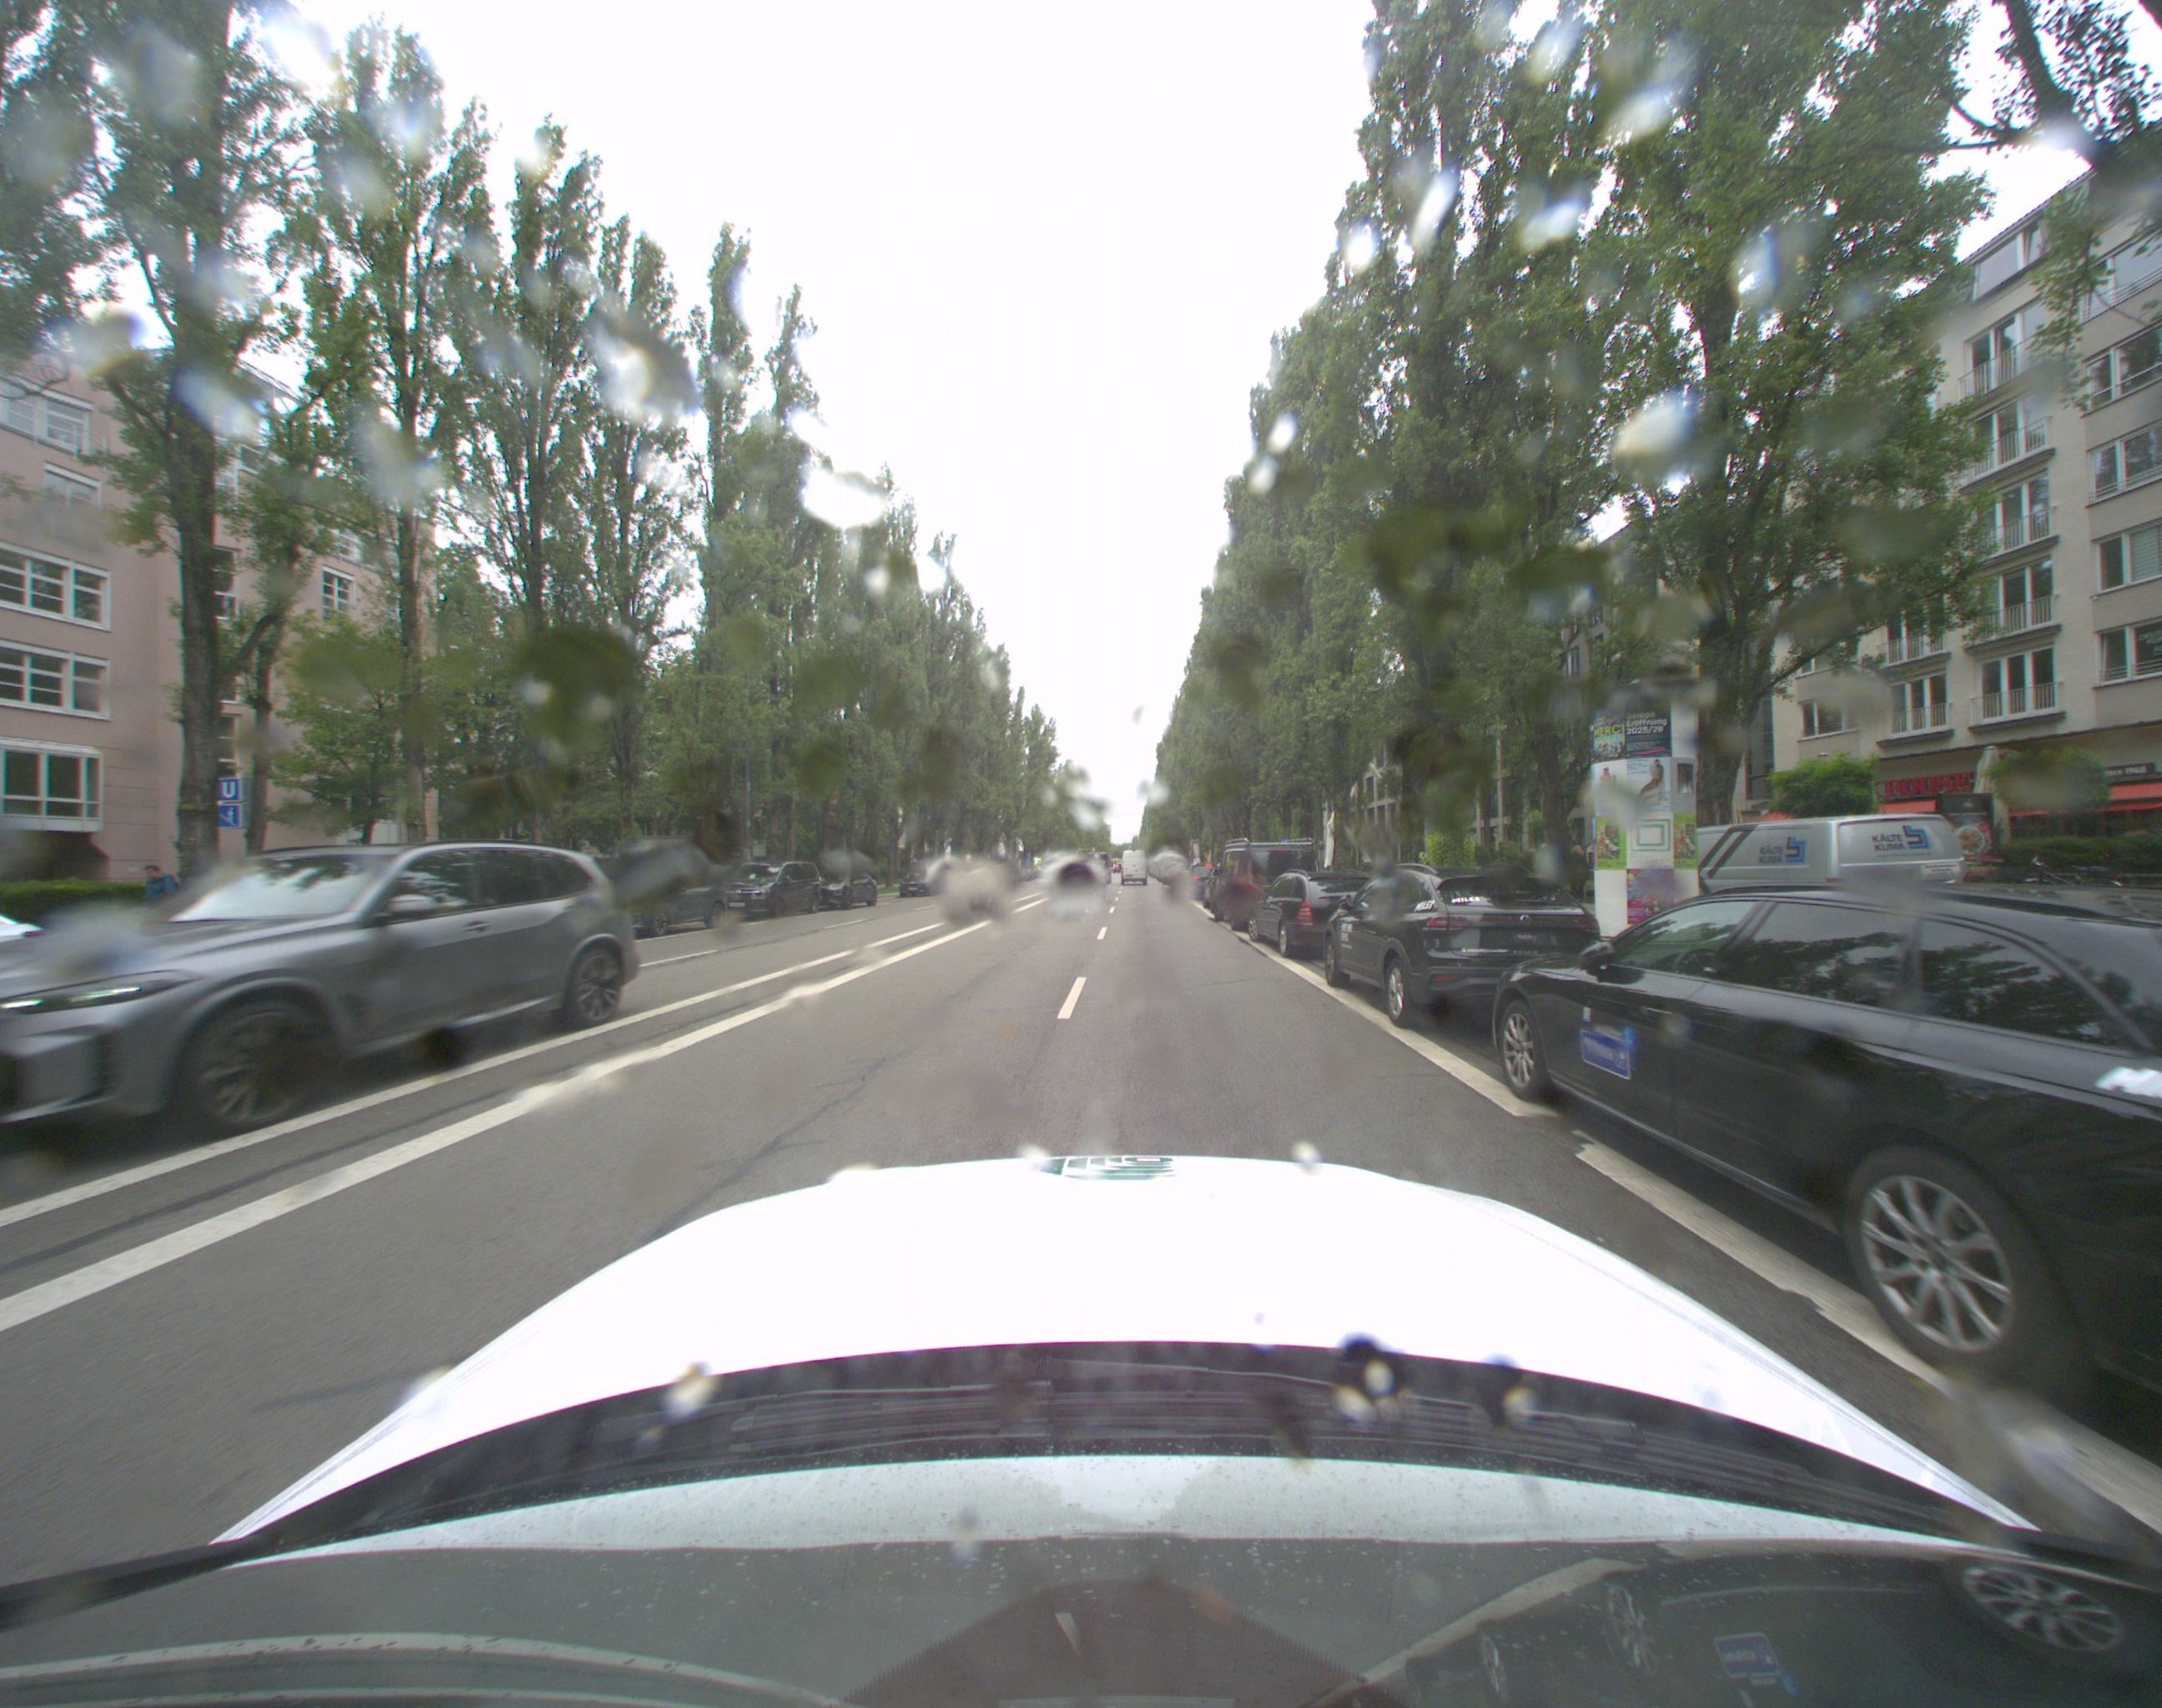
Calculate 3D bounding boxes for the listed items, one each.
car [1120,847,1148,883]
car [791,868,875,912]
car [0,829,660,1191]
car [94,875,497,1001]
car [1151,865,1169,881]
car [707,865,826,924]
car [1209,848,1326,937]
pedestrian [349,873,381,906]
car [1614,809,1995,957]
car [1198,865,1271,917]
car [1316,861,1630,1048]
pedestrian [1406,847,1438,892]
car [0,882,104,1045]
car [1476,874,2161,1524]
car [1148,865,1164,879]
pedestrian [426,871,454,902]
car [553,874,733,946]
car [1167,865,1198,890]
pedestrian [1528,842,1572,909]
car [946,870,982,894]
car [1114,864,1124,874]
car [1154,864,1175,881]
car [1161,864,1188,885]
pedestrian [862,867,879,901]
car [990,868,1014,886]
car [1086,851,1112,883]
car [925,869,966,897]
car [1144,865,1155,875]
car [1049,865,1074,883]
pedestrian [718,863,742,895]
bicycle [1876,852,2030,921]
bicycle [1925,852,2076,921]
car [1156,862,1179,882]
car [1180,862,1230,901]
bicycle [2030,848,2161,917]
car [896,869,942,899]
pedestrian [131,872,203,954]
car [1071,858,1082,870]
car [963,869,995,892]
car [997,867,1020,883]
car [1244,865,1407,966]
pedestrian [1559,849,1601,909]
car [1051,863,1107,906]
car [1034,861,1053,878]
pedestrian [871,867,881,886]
[{"bbox_3d":[4.119,0.854,63.278,2.031,2.652,6.046,1,0,3],"label":"car"},{"bbox_3d":[-9.915,1.402,32.963,1.987,1.606,4.353,-1,-1,1],"label":"car"},{"bbox_3d":[-5.622,0.812,6.310,1.985,1.716,4.763,-2,-1,3],"label":"car"},{"bbox_3d":[-11.745,1.149,12.728,1.986,1.542,4.327,-1,-1,2],"label":"car"},{"bbox_3d":[8.736,2.080,90.179,1.736,1.643,3.952,0,-1,2],"label":"car"},{"bbox_3d":[-10.505,1.297,27.630,1.985,1.797,4.764,-1,-1,3],"label":"car"},{"bbox_3d":[4.475,0.878,20.285,1.903,1.924,5.041,0,-1,2],"label":"car"},{"bbox_3d":[-36.289,1.787,41.286,0.811,1.662,0.898,-1,-1,4],"label":"pedestrian"},{"bbox_3d":[11.105,0.421,13.211,1.800,1.896,5.208,-1,-1,4],"label":"car"},{"bbox_3d":[4.855,1.140,26.280,1.736,1.527,3.952,0,-1,2],"label":"car"},{"bbox_3d":[3.805,0.858,8.711,1.735,1.527,3.912,0,-1,4],"label":"car"},{"bbox_3d":[13.561,0.611,32.416,0.904,1.752,0.861,-1,-1,4],"label":"pedestrian"},{"bbox_3d":[-11.441,1.094,6.570,1.792,1.542,4.240,-2,-1,5],"label":"car"},{"bbox_3d":[3.487,0.825,3.579,1.742,1.427,4.455,0,-1,6],"label":"car"},{"bbox_3d":[9.316,2.224,101.754,1.736,1.643,3.952,0,-1,2],"label":"car"},{"bbox_3d":[-34.617,1.745,43.979,0.811,1.662,0.898,-1,-1,4],"label":"pedestrian"},{"bbox_3d":[-10.923,1.332,20.747,1.984,1.542,4.329,-1,-1,4],"label":"car"},{"bbox_3d":[6.735,1.544,54.325,1.736,1.643,3.952,0,-1,2],"label":"car"},{"bbox_3d":[12.905,0.580,22.431,0.744,1.803,0.845,-1,-1,8],"label":"pedestrian"},{"bbox_3d":[-8.351,1.989,58.219,1.754,1.579,3.975,-1,-1,3],"label":"car"},{"bbox_3d":[6.666,2.647,143.929,1.736,1.643,3.952,0,-1,2],"label":"car"},{"bbox_3d":[8.149,1.830,79.901,1.736,1.643,3.952,0,-1,2],"label":"car"},{"bbox_3d":[7.120,1.554,62.465,1.736,1.546,3.952,0,-1,2],"label":"car"},{"bbox_3d":[-10.351,1.459,39.989,0.666,1.657,0.600,-1,-1,-2],"label":"pedestrian"},{"bbox_3d":[-7.481,2.189,77.180,1.754,1.579,3.464,-1,-1,3],"label":"car"},{"bbox_3d":[1.548,1.083,68.202,2.067,2.556,5.935,0,-1,3],"label":"car"},{"bbox_3d":[-8.667,1.853,52.454,1.754,1.579,3.976,-1,0,3],"label":"car"},{"bbox_3d":[11.607,2.641,137.941,1.736,1.643,3.952,0,-1,2],"label":"car"},{"bbox_3d":[-1.770,1.810,75.046,1.985,1.549,4.642,0,-1,3],"label":"car"},{"bbox_3d":[-18.489,1.322,42.862,0.811,1.662,0.898,-1,-1,4],"label":"pedestrian"},{"bbox_3d":[16.060,0.589,15.033,2.016,1.160,0.588,-3,-2,4],"label":"bicycle"},{"bbox_3d":[16.103,0.569,14.290,1.854,1.160,0.588,-1,-1,4],"label":"bicycle"},{"bbox_3d":[7.891,1.631,74.528,1.736,1.787,3.952,0,-1,2],"label":"car"},{"bbox_3d":[5.425,1.184,36.110,1.736,1.591,3.952,0,-1,2],"label":"car"},{"bbox_3d":[18.276,0.489,14.417,0.586,1.160,1.862,-1,-1,-11],"label":"bicycle"},{"bbox_3d":[-9.237,1.682,46.671,1.937,1.579,3.608,-1,0,-1],"label":"car"},{"bbox_3d":[-19.641,1.244,17.520,0.704,1.714,0.732,-1,-1,4],"label":"pedestrian"},{"bbox_3d":[-0.965,2.469,196.997,2.183,2.718,7.006,-1,0,3],"label":"car"},{"bbox_3d":[-7.956,2.055,63.812,1.754,1.579,3.976,-1,0,3],"label":"car"},{"bbox_3d":[-7.144,2.055,80.934,1.754,1.579,3.464,-1,-1,3],"label":"car"},{"bbox_3d":[4.145,0.973,14.508,1.736,1.527,4.235,0,-1,1],"label":"car"},{"bbox_3d":[13.686,0.668,22.365,0.692,1.606,0.835,-1,-1,8],"label":"pedestrian"},{"bbox_3d":[0.015,1.163,32.857,1.985,1.575,4.642,0,-1,3],"label":"car"},{"bbox_3d":[-5.038,2.068,108.981,1.985,2.119,5.005,-1,0,3],"label":"car"},{"bbox_3d":[-15.882,1.739,63.069,0.589,1.493,0.678,-1,-1,4],"label":"pedestrian"}]
